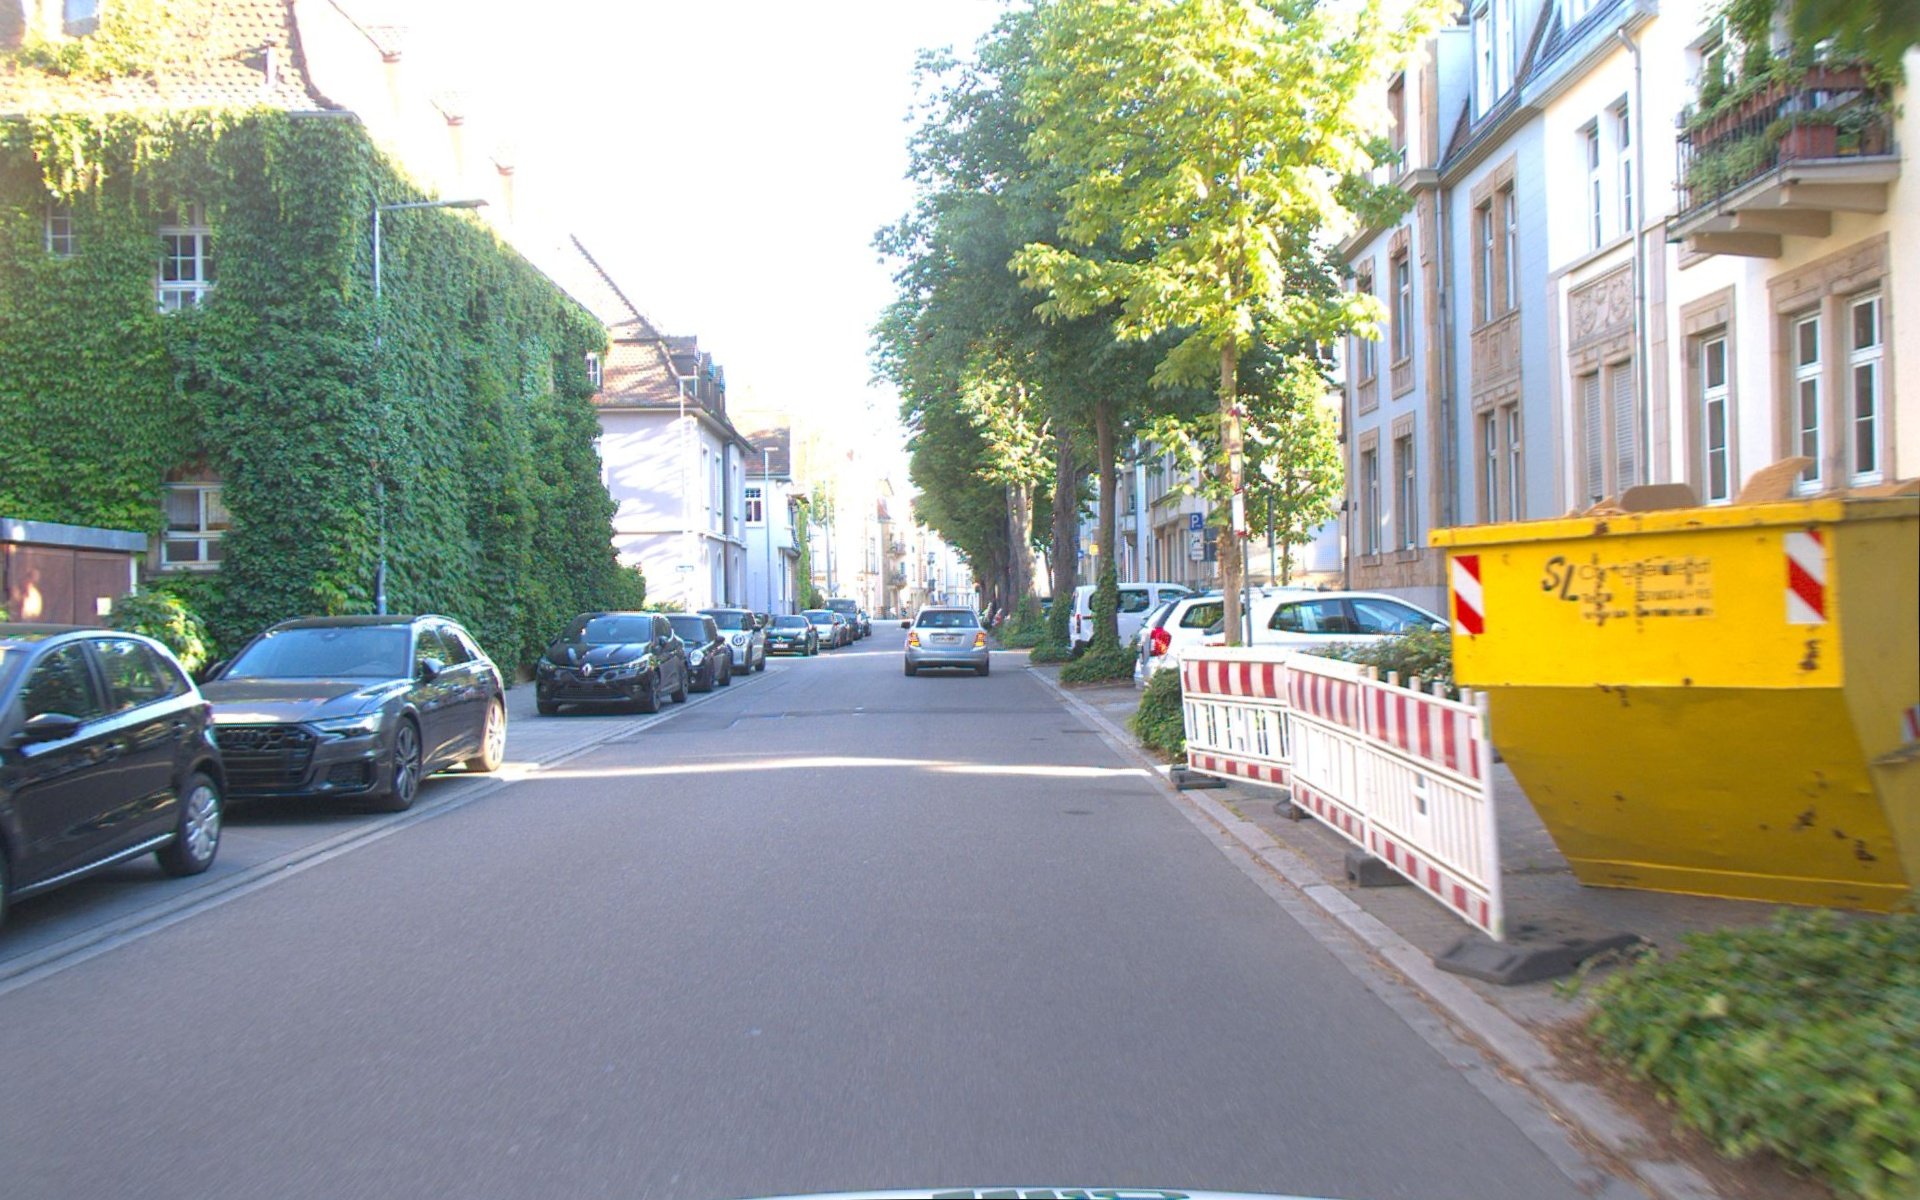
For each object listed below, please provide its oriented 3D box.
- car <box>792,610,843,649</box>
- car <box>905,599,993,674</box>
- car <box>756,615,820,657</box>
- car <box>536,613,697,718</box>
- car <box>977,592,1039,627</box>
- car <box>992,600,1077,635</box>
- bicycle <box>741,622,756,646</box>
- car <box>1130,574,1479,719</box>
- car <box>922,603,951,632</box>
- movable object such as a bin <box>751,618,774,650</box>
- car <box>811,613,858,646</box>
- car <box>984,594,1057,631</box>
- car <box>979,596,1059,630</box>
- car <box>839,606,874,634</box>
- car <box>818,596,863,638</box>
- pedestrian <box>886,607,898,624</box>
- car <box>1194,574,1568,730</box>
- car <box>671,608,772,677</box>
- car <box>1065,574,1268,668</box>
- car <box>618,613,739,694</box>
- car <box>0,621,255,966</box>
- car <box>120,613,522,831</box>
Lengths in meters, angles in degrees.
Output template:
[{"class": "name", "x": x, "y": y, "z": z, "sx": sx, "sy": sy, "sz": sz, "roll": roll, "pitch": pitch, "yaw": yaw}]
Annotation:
[{"class": "car", "x": -5.475, "y": 1.118, "z": 63.957, "sx": 1.619, "sy": 1.471, "sz": 3.960, "roll": 0, "pitch": 0, "yaw": 0}, {"class": "car", "x": -0.216, "y": 0.756, "z": 34.691, "sx": 1.747, "sy": 1.462, "sz": 3.850, "roll": 0, "pitch": -1, "yaw": 0}, {"class": "car", "x": -5.700, "y": 1.176, "z": 55.129, "sx": 1.619, "sy": 1.347, "sz": 4.046, "roll": 0, "pitch": -1, "yaw": 2}, {"class": "car", "x": -5.112, "y": 0.928, "z": 25.086, "sx": 1.616, "sy": 1.445, "sz": 4.098, "roll": 0, "pitch": 0, "yaw": 0}, {"class": "car", "x": 3.418, "y": 0.677, "z": 118.468, "sx": 4.301, "sy": 2.405, "sz": 1.999, "roll": -1, "pitch": 0, "yaw": -3}, {"class": "car", "x": 3.686, "y": 0.866, "z": 81.830, "sx": 4.103, "sy": 1.501, "sz": 1.852, "roll": -3, "pitch": -1, "yaw": 2}, {"class": "bicycle", "x": -8.574, "y": 1.372, "z": 67.011, "sx": 0.386, "sy": 0.953, "sz": 1.722, "roll": -2, "pitch": 0, "yaw": 0}, {"class": "car", "x": 4.297, "y": 0.570, "z": 21.103, "sx": 4.059, "sy": 1.561, "sz": 1.687, "roll": -3, "pitch": 0, "yaw": 1}, {"class": "car", "x": -1.360, "y": 0.986, "z": 96.066, "sx": 1.590, "sy": 1.597, "sz": 3.680, "roll": -1, "pitch": 0, "yaw": 0}, {"class": "movable object such as a bin", "x": -8.259, "y": 1.406, "z": 69.173, "sx": 0.707, "sy": 1.306, "sz": 2.096, "roll": -1, "pitch": 0, "yaw": 0}, {"class": "car", "x": -5.241, "y": 1.215, "z": 69.337, "sx": 1.499, "sy": 1.342, "sz": 4.227, "roll": -1, "pitch": -1, "yaw": 2}, {"class": "car", "x": 3.578, "y": 0.744, "z": 98.426, "sx": 4.136, "sy": 1.929, "sz": 1.904, "roll": -3, "pitch": -1, "yaw": -3}, {"class": "car", "x": 3.738, "y": 0.803, "z": 105.688, "sx": 4.952, "sy": 2.024, "sz": 2.071, "roll": -1, "pitch": 0, "yaw": -3}, {"class": "car", "x": -5.699, "y": 1.081, "z": 91.621, "sx": 1.660, "sy": 1.472, "sz": 4.357, "roll": 0, "pitch": 0, "yaw": 0}, {"class": "car", "x": -5.763, "y": 0.819, "z": 80.536, "sx": 1.942, "sy": 1.982, "sz": 4.850, "roll": 0, "pitch": 0, "yaw": -1}, {"class": "pedestrian", "x": -7.411, "y": 1.700, "z": 181.408, "sx": 1.195, "sy": 1.752, "sz": 1.504, "roll": 0, "pitch": -1, "yaw": 2}, {"class": "car", "x": 4.625, "y": 0.564, "z": 18.599, "sx": 3.771, "sy": 1.487, "sz": 1.687, "roll": -3, "pitch": 0, "yaw": 4}, {"class": "car", "x": -5.382, "y": 0.922, "z": 37.738, "sx": 1.669, "sy": 1.486, "sz": 3.917, "roll": 0, "pitch": 0, "yaw": 1}, {"class": "car", "x": 4.588, "y": 0.458, "z": 37.276, "sx": 4.227, "sy": 1.838, "sz": 2.000, "roll": -3, "pitch": 0, "yaw": -1}, {"class": "car", "x": -5.185, "y": 0.955, "z": 30.865, "sx": 1.652, "sy": 1.404, "sz": 3.720, "roll": 0, "pitch": 0, "yaw": 0}, {"class": "car", "x": -5.047, "y": 0.864, "z": 8.188, "sx": 1.620, "sy": 1.472, "sz": 3.842, "roll": 0, "pitch": 0, "yaw": -3}, {"class": "car", "x": -5.090, "y": 0.868, "z": 13.942, "sx": 1.756, "sy": 1.487, "sz": 4.774, "roll": 0, "pitch": 0, "yaw": -3}]
